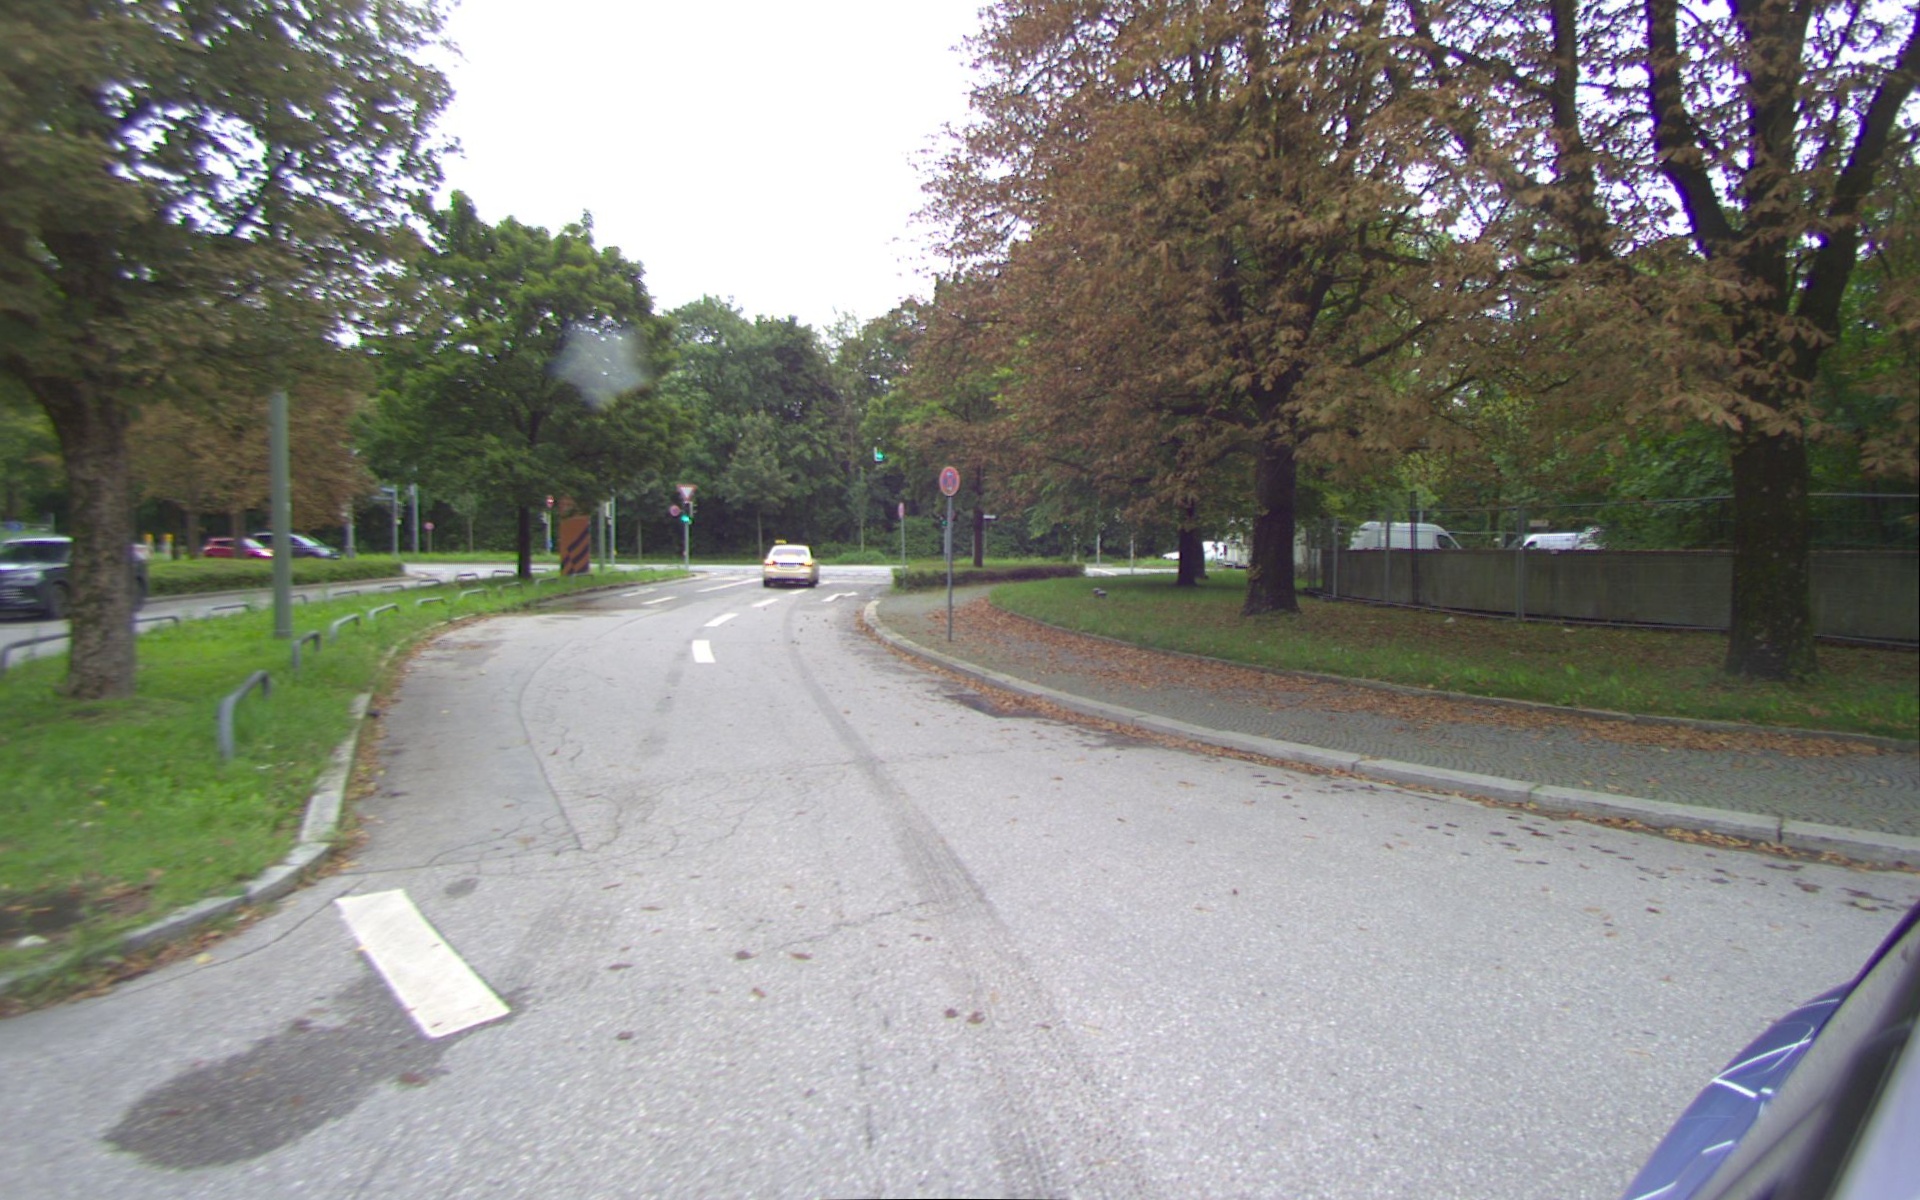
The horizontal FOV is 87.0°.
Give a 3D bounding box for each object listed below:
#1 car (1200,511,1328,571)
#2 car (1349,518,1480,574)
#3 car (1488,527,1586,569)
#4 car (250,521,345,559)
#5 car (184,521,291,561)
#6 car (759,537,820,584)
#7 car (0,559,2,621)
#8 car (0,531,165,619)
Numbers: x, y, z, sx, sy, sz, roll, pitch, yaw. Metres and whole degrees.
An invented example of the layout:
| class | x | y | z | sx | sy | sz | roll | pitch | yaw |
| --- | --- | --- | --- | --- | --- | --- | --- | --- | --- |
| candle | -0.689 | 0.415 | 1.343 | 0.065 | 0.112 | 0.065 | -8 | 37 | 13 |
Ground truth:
| class | x | y | z | sx | sy | sz | roll | pitch | yaw |
| --- | --- | --- | --- | --- | --- | --- | --- | --- | --- |
| car | 14.658 | -2.860 | 49.001 | 5.492 | 2.767 | 2.077 | 1 | 3 | 1 |
| car | 21.989 | -2.634 | 49.127 | 5.355 | 2.612 | 2.077 | 1 | 3 | 1 |
| car | 37.574 | -3.386 | 66.023 | 5.041 | 2.612 | 2.077 | 1 | 3 | 2 |
| car | -36.737 | -3.332 | 56.195 | 3.920 | 2.038 | 2.003 | 0 | 2 | -4 |
| car | -37.799 | -3.089 | 53.036 | 4.075 | 2.038 | 2.003 | 0 | 2 | -4 |
| car | -6.071 | -1.447 | 36.504 | 1.856 | 1.564 | 4.861 | 0 | 3 | -6 |
| car | -17.524 | -0.215 | 16.126 | 1.764 | 1.400 | 4.229 | -1 | 3 | -21 |
| car | -18.700 | -0.505 | 20.891 | 1.852 | 1.626 | 4.405 | -1 | 1 | -13 |
